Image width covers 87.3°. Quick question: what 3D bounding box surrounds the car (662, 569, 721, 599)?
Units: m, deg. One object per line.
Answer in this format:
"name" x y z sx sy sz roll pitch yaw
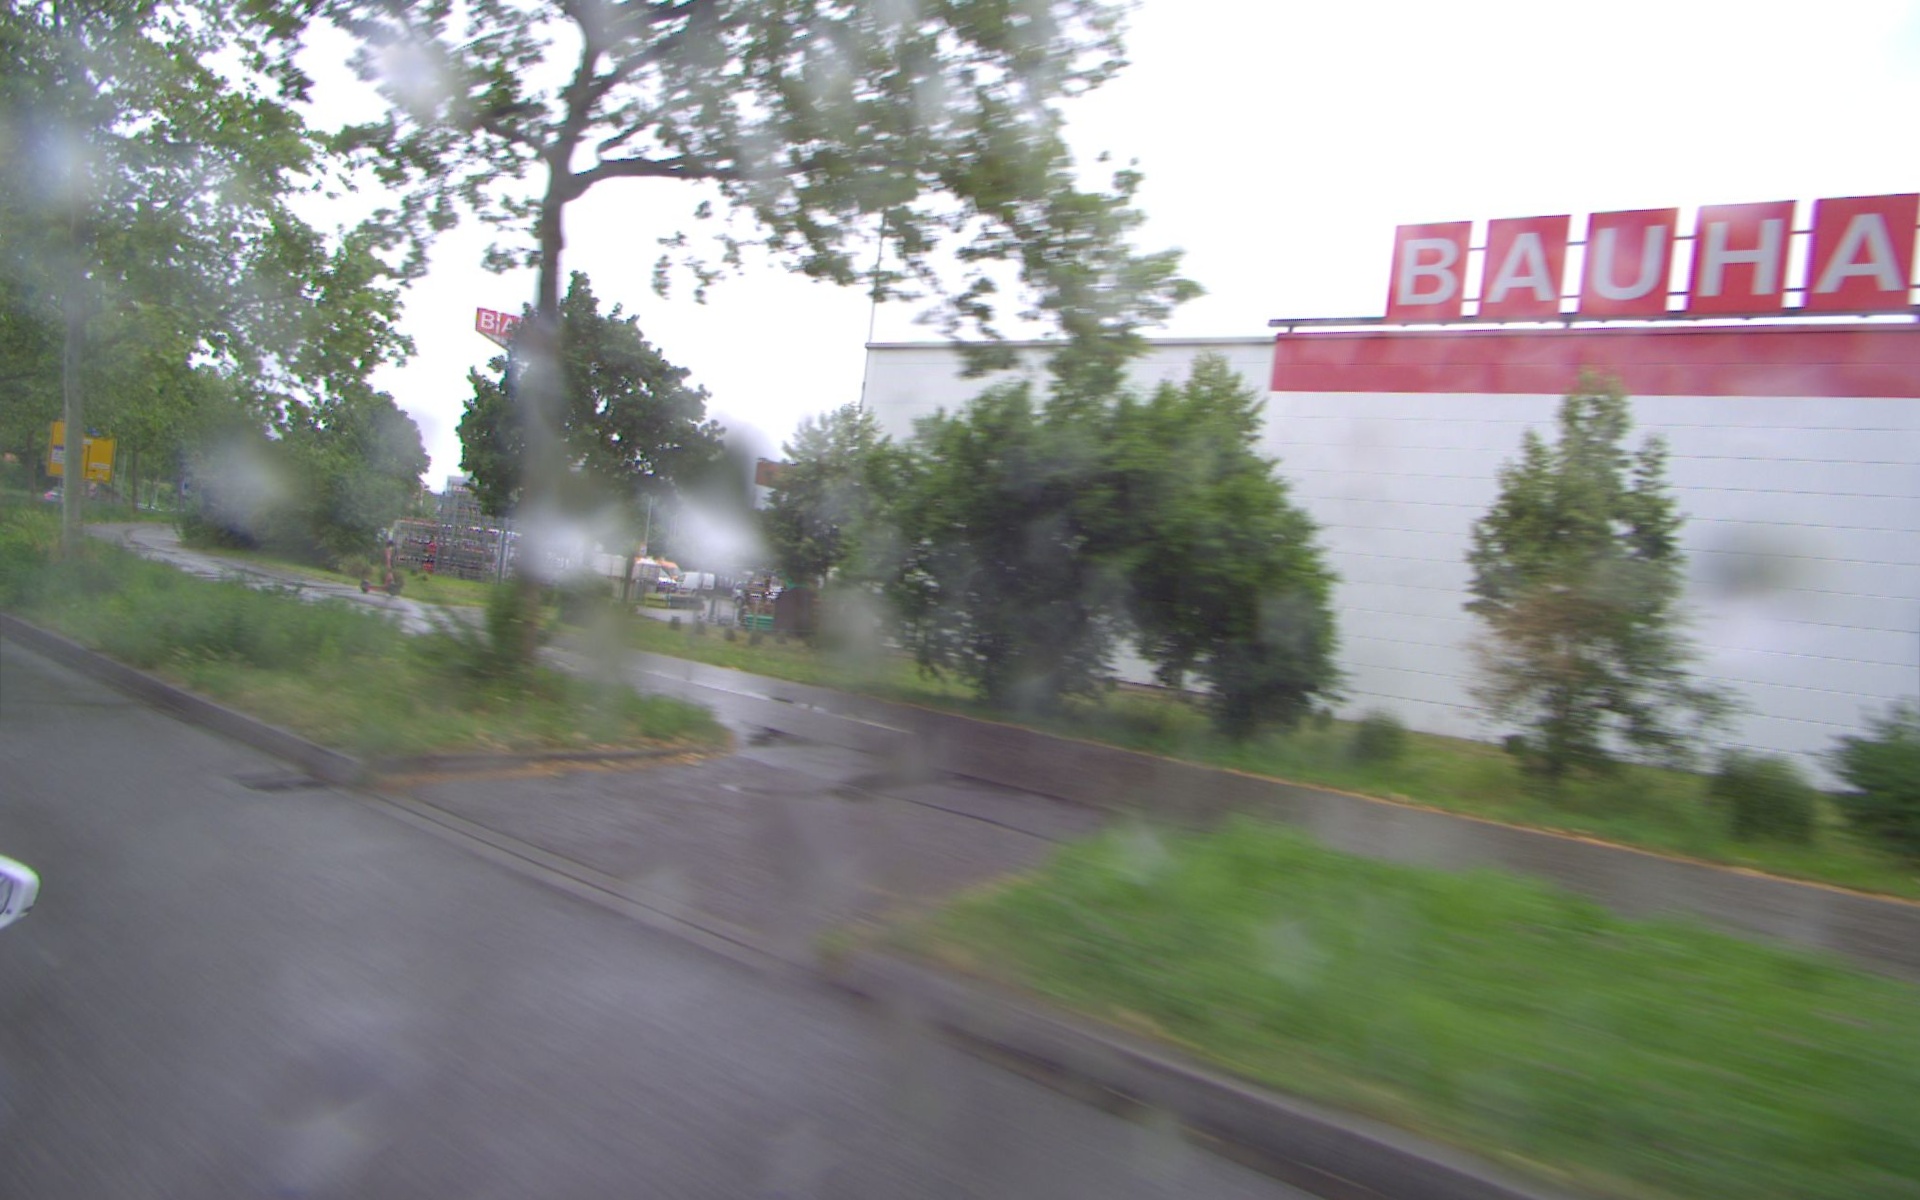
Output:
"car" -19.765 -1.168 73.988 3.932 1.689 1.782 7 0 30

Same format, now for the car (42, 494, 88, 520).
"car" -69.791 -7.210 78.525 1.767 1.573 3.968 9 -1 -30

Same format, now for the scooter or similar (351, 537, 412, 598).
"scooter or similar" -12.970 -0.718 22.549 1.091 1.212 0.550 7 0 25

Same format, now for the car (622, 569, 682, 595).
"car" -22.075 -1.294 72.136 3.932 1.392 1.782 7 -1 30
